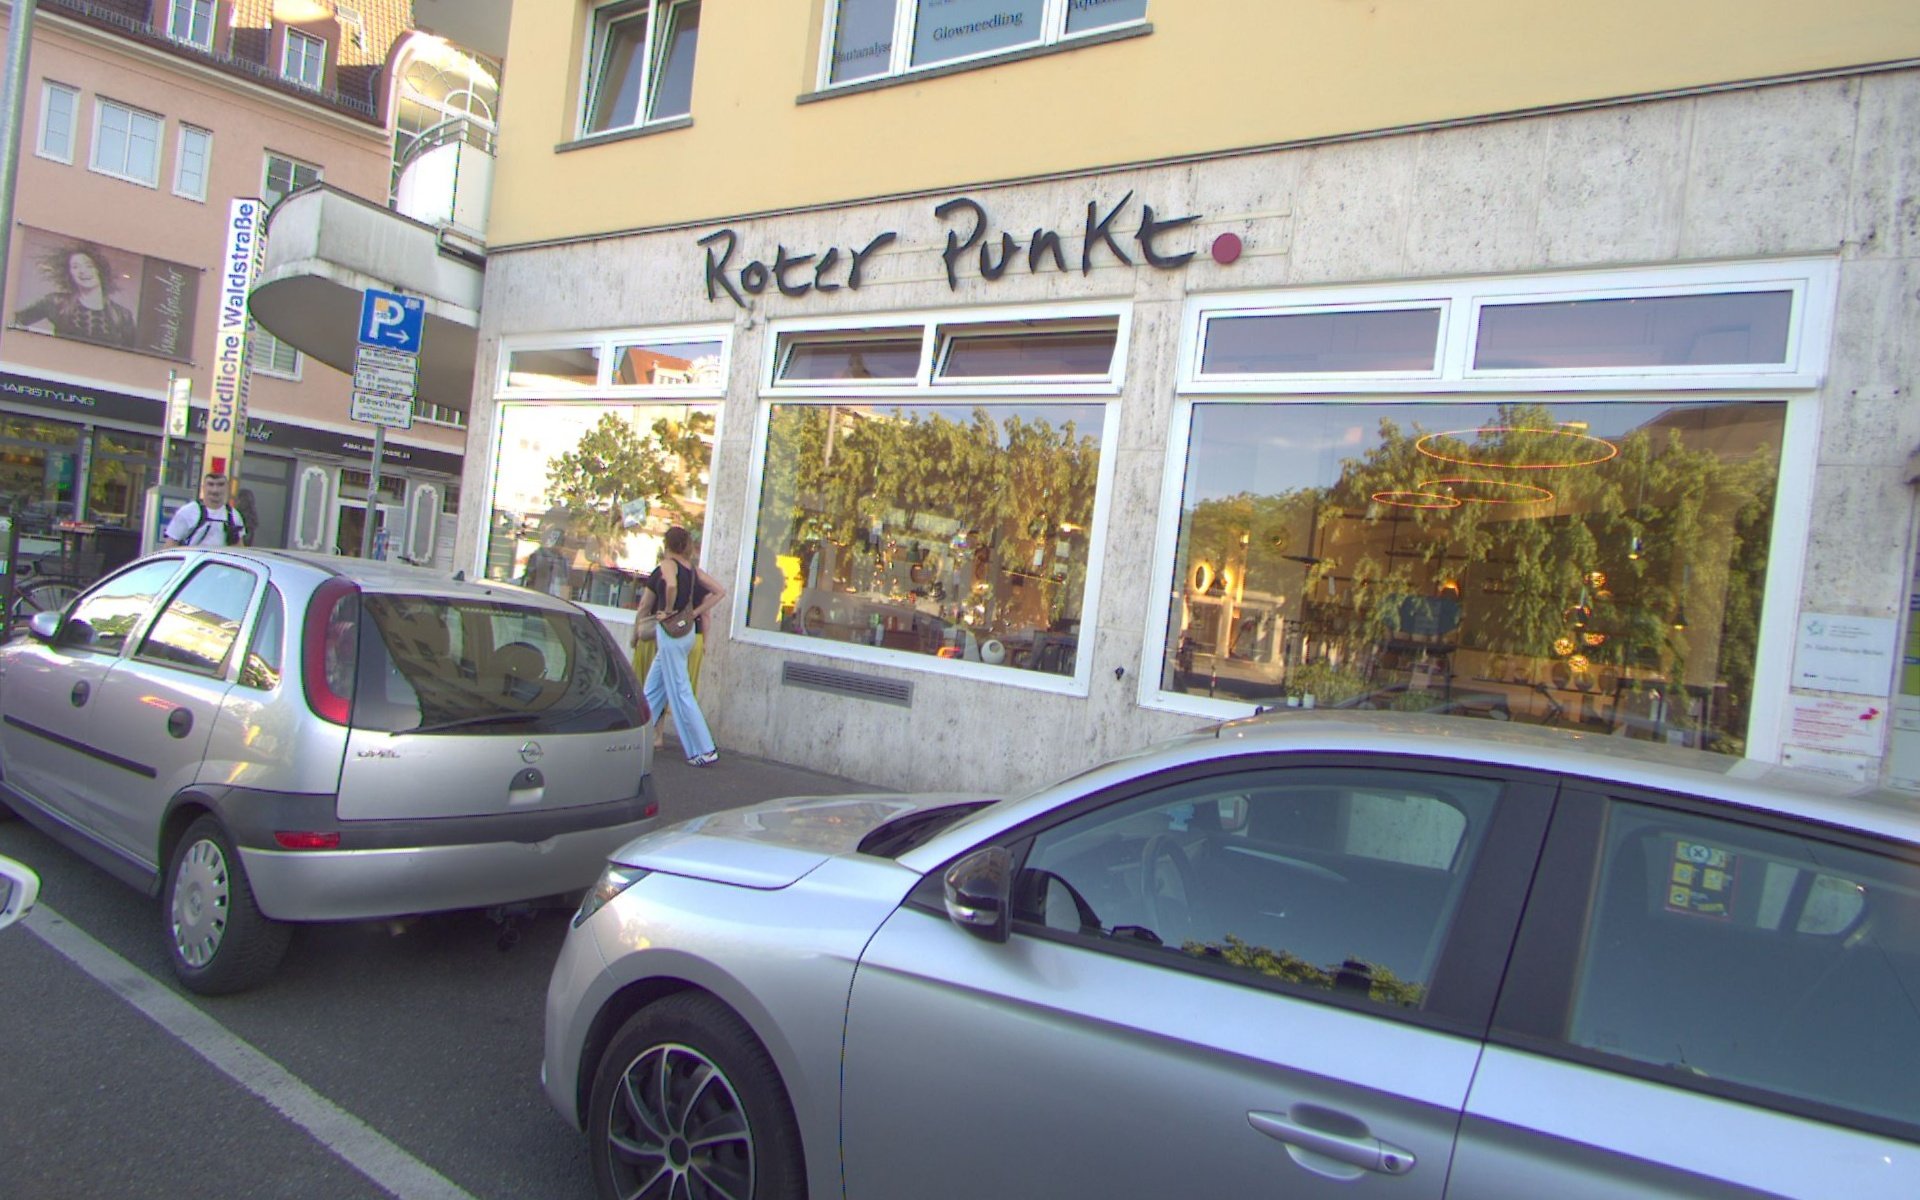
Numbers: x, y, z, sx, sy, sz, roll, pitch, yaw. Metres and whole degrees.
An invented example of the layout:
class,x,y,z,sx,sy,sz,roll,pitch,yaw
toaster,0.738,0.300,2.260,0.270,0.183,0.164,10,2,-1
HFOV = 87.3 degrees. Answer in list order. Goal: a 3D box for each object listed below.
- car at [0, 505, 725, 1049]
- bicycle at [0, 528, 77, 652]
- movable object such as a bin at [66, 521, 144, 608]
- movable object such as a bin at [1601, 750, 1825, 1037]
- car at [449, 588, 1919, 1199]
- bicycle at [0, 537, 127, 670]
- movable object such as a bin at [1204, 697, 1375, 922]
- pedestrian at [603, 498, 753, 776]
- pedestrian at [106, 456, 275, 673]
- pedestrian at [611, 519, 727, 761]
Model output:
class,x,y,z,sx,sy,sz,roll,pitch,yaw
car,-2.968,0.480,4.475,3.520,1.443,1.587,6,-2,32
bicycle,-9.068,-0.155,8.811,0.642,1.072,1.816,7,-1,33
movable object such as a bin,-11.968,-0.494,14.078,0.716,1.117,0.636,7,2,35
movable object such as a bin,3.362,1.262,4.561,0.639,1.035,0.738,6,-1,31
car,0.768,0.940,2.295,3.624,1.453,1.587,6,-2,30
bicycle,-8.176,-0.001,8.267,0.642,1.057,1.884,7,0,33
movable object such as a bin,1.813,1.093,5.491,0.639,1.035,0.738,6,-1,31
pedestrian,-2.027,0.263,7.329,0.878,1.874,0.681,4,2,-12
pedestrian,-7.100,-0.320,9.286,0.967,1.844,0.809,6,-1,35
pedestrian,-2.313,0.304,7.952,0.713,1.777,0.784,4,2,-19
